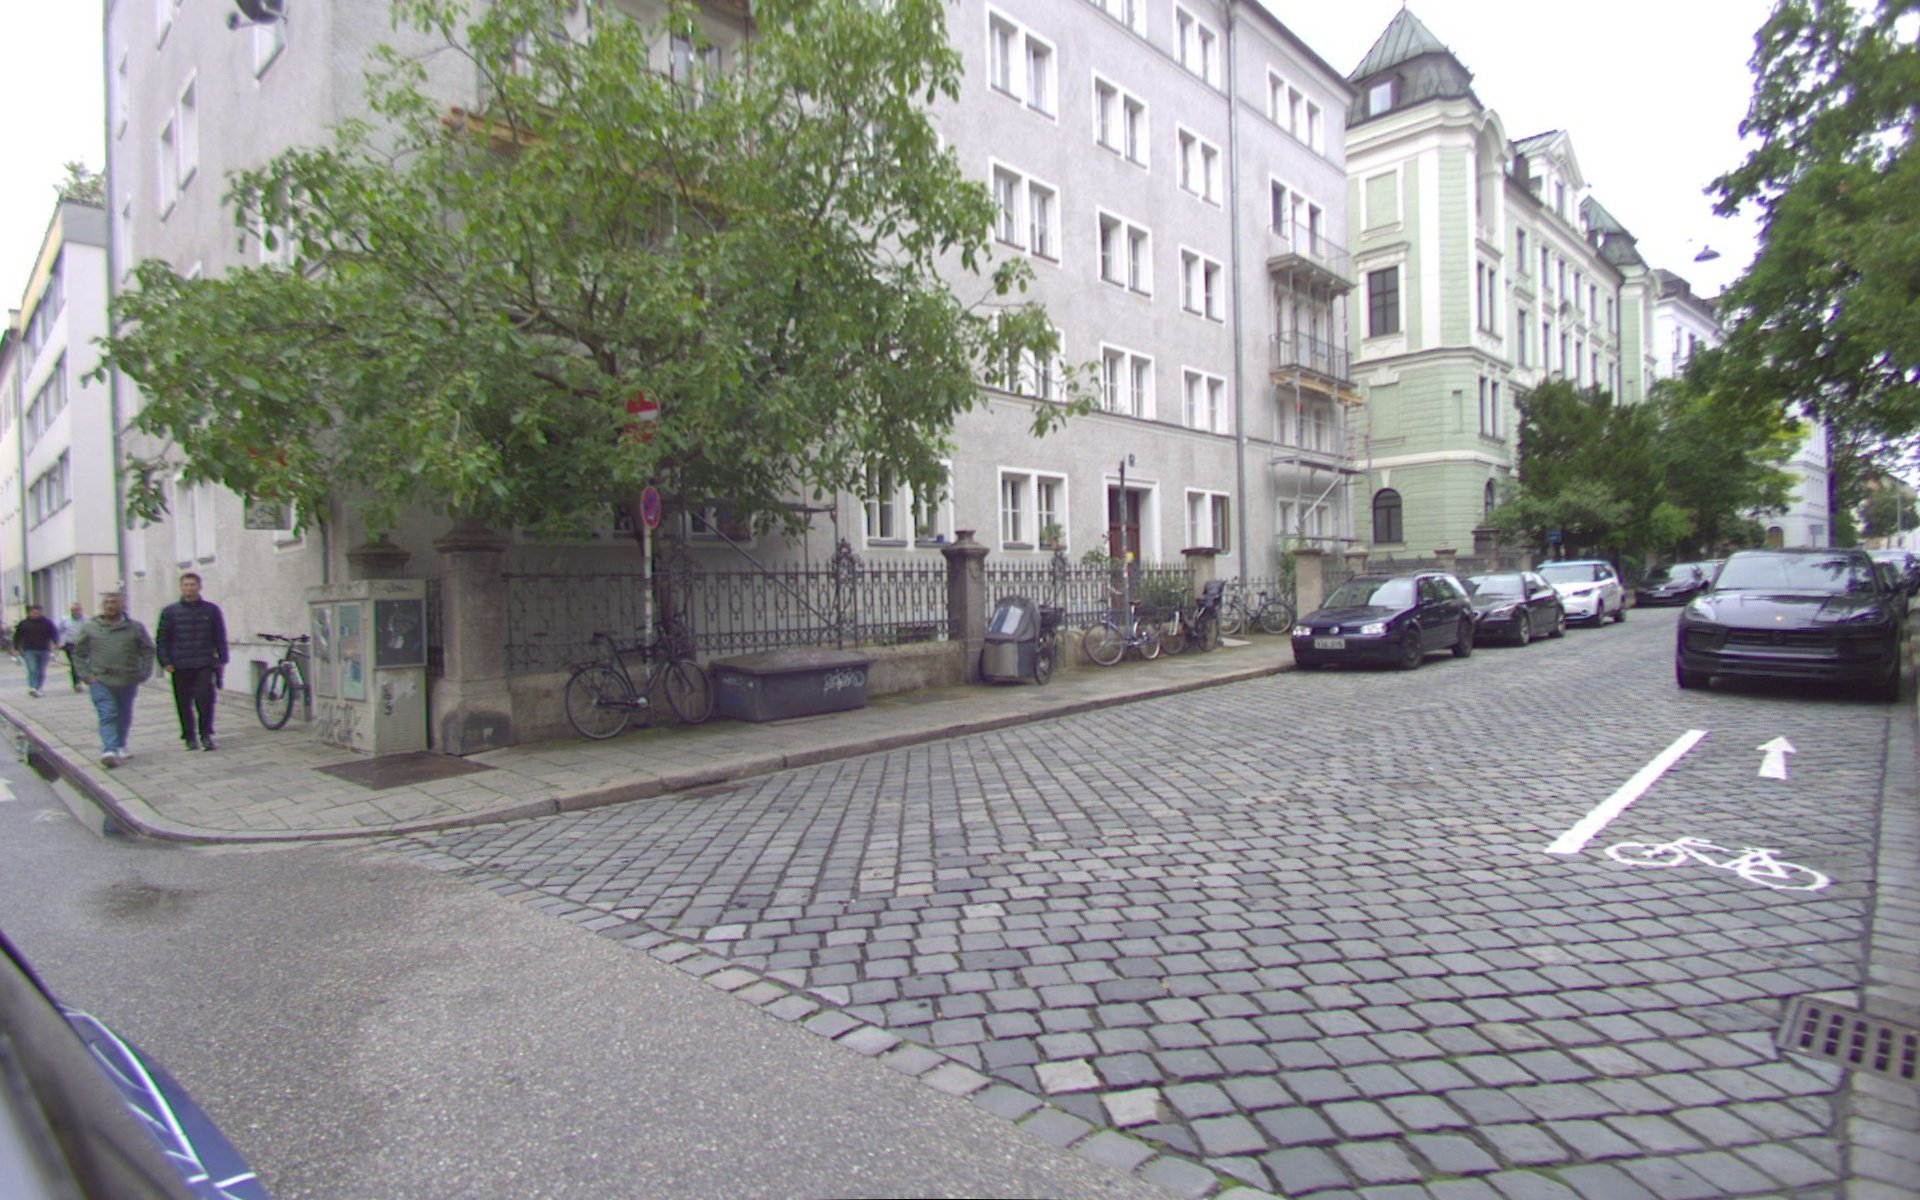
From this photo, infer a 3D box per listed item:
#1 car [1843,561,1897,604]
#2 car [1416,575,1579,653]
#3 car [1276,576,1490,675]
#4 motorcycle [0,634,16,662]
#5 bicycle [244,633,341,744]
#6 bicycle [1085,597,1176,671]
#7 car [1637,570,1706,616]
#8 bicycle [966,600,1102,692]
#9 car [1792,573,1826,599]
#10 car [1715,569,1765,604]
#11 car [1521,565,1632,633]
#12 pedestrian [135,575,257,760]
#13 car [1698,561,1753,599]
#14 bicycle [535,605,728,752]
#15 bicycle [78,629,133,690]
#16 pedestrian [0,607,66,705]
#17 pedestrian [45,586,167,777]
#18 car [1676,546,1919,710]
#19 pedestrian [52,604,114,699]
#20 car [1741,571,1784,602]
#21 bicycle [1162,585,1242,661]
[{"bbox_3d":[36.070,-0.697,40.151,1.507,1.590,3.085,-2,0,42],"label":"car"},{"bbox_3d":[10.724,0.233,20.059,1.845,1.336,4.055,-2,0,43],"label":"car"},{"bbox_3d":[6.838,0.331,16.145,1.845,1.336,4.055,-2,0,43],"label":"car"},{"bbox_3d":[-34.775,1.749,36.928,1.961,0.981,0.320,-2,1,44],"label":"motorcycle"},{"bbox_3d":[-7.337,0.933,11.094,1.702,1.103,0.426,-2,1,42],"label":"bicycle"},{"bbox_3d":[2.759,0.521,16.253,1.827,1.112,0.412,-1,-1,-44],"label":"bicycle"},{"bbox_3d":[24.204,-0.260,34.400,1.521,1.439,3.353,-2,1,42],"label":"car"},{"bbox_3d":[1.089,0.593,14.187,0.988,1.165,2.464,-2,-1,28],"label":"bicycle"},{"bbox_3d":[52.239,-0.875,62.238,1.497,1.442,3.549,-2,1,41],"label":"car"},{"bbox_3d":[35.066,-0.632,45.476,1.592,1.475,3.482,-2,1,40],"label":"car"},{"bbox_3d":[15.022,-0.056,24.588,1.588,1.533,3.607,-2,0,43],"label":"car"},{"bbox_3d":[-7.777,0.664,10.311,0.740,1.776,0.684,-2,2,33],"label":"pedestrian"},{"bbox_3d":[31.417,-0.834,41.484,1.521,1.439,3.353,-2,1,42],"label":"car"},{"bbox_3d":[-3.148,0.708,9.858,0.432,1.270,1.787,-2,0,42],"label":"bicycle"},{"bbox_3d":[-17.669,1.215,20.922,1.495,1.203,0.445,-2,1,34],"label":"bicycle"},{"bbox_3d":[-17.425,1.033,19.022,0.841,1.740,0.712,-2,4,43],"label":"pedestrian"},{"bbox_3d":[-8.131,0.742,9.633,0.859,1.690,0.682,-2,2,41],"label":"pedestrian"},{"bbox_3d":[9.802,0.202,11.630,2.018,1.533,4.231,0,2,43],"label":"car"},{"bbox_3d":[-16.927,0.973,19.539,0.841,1.740,0.686,-2,4,43],"label":"pedestrian"},{"bbox_3d":[39.200,-0.669,49.409,1.497,1.442,3.549,-2,1,41],"label":"car"},{"bbox_3d":[4.270,0.380,17.769,1.827,1.283,0.412,-1,-1,-44],"label":"bicycle"}]
